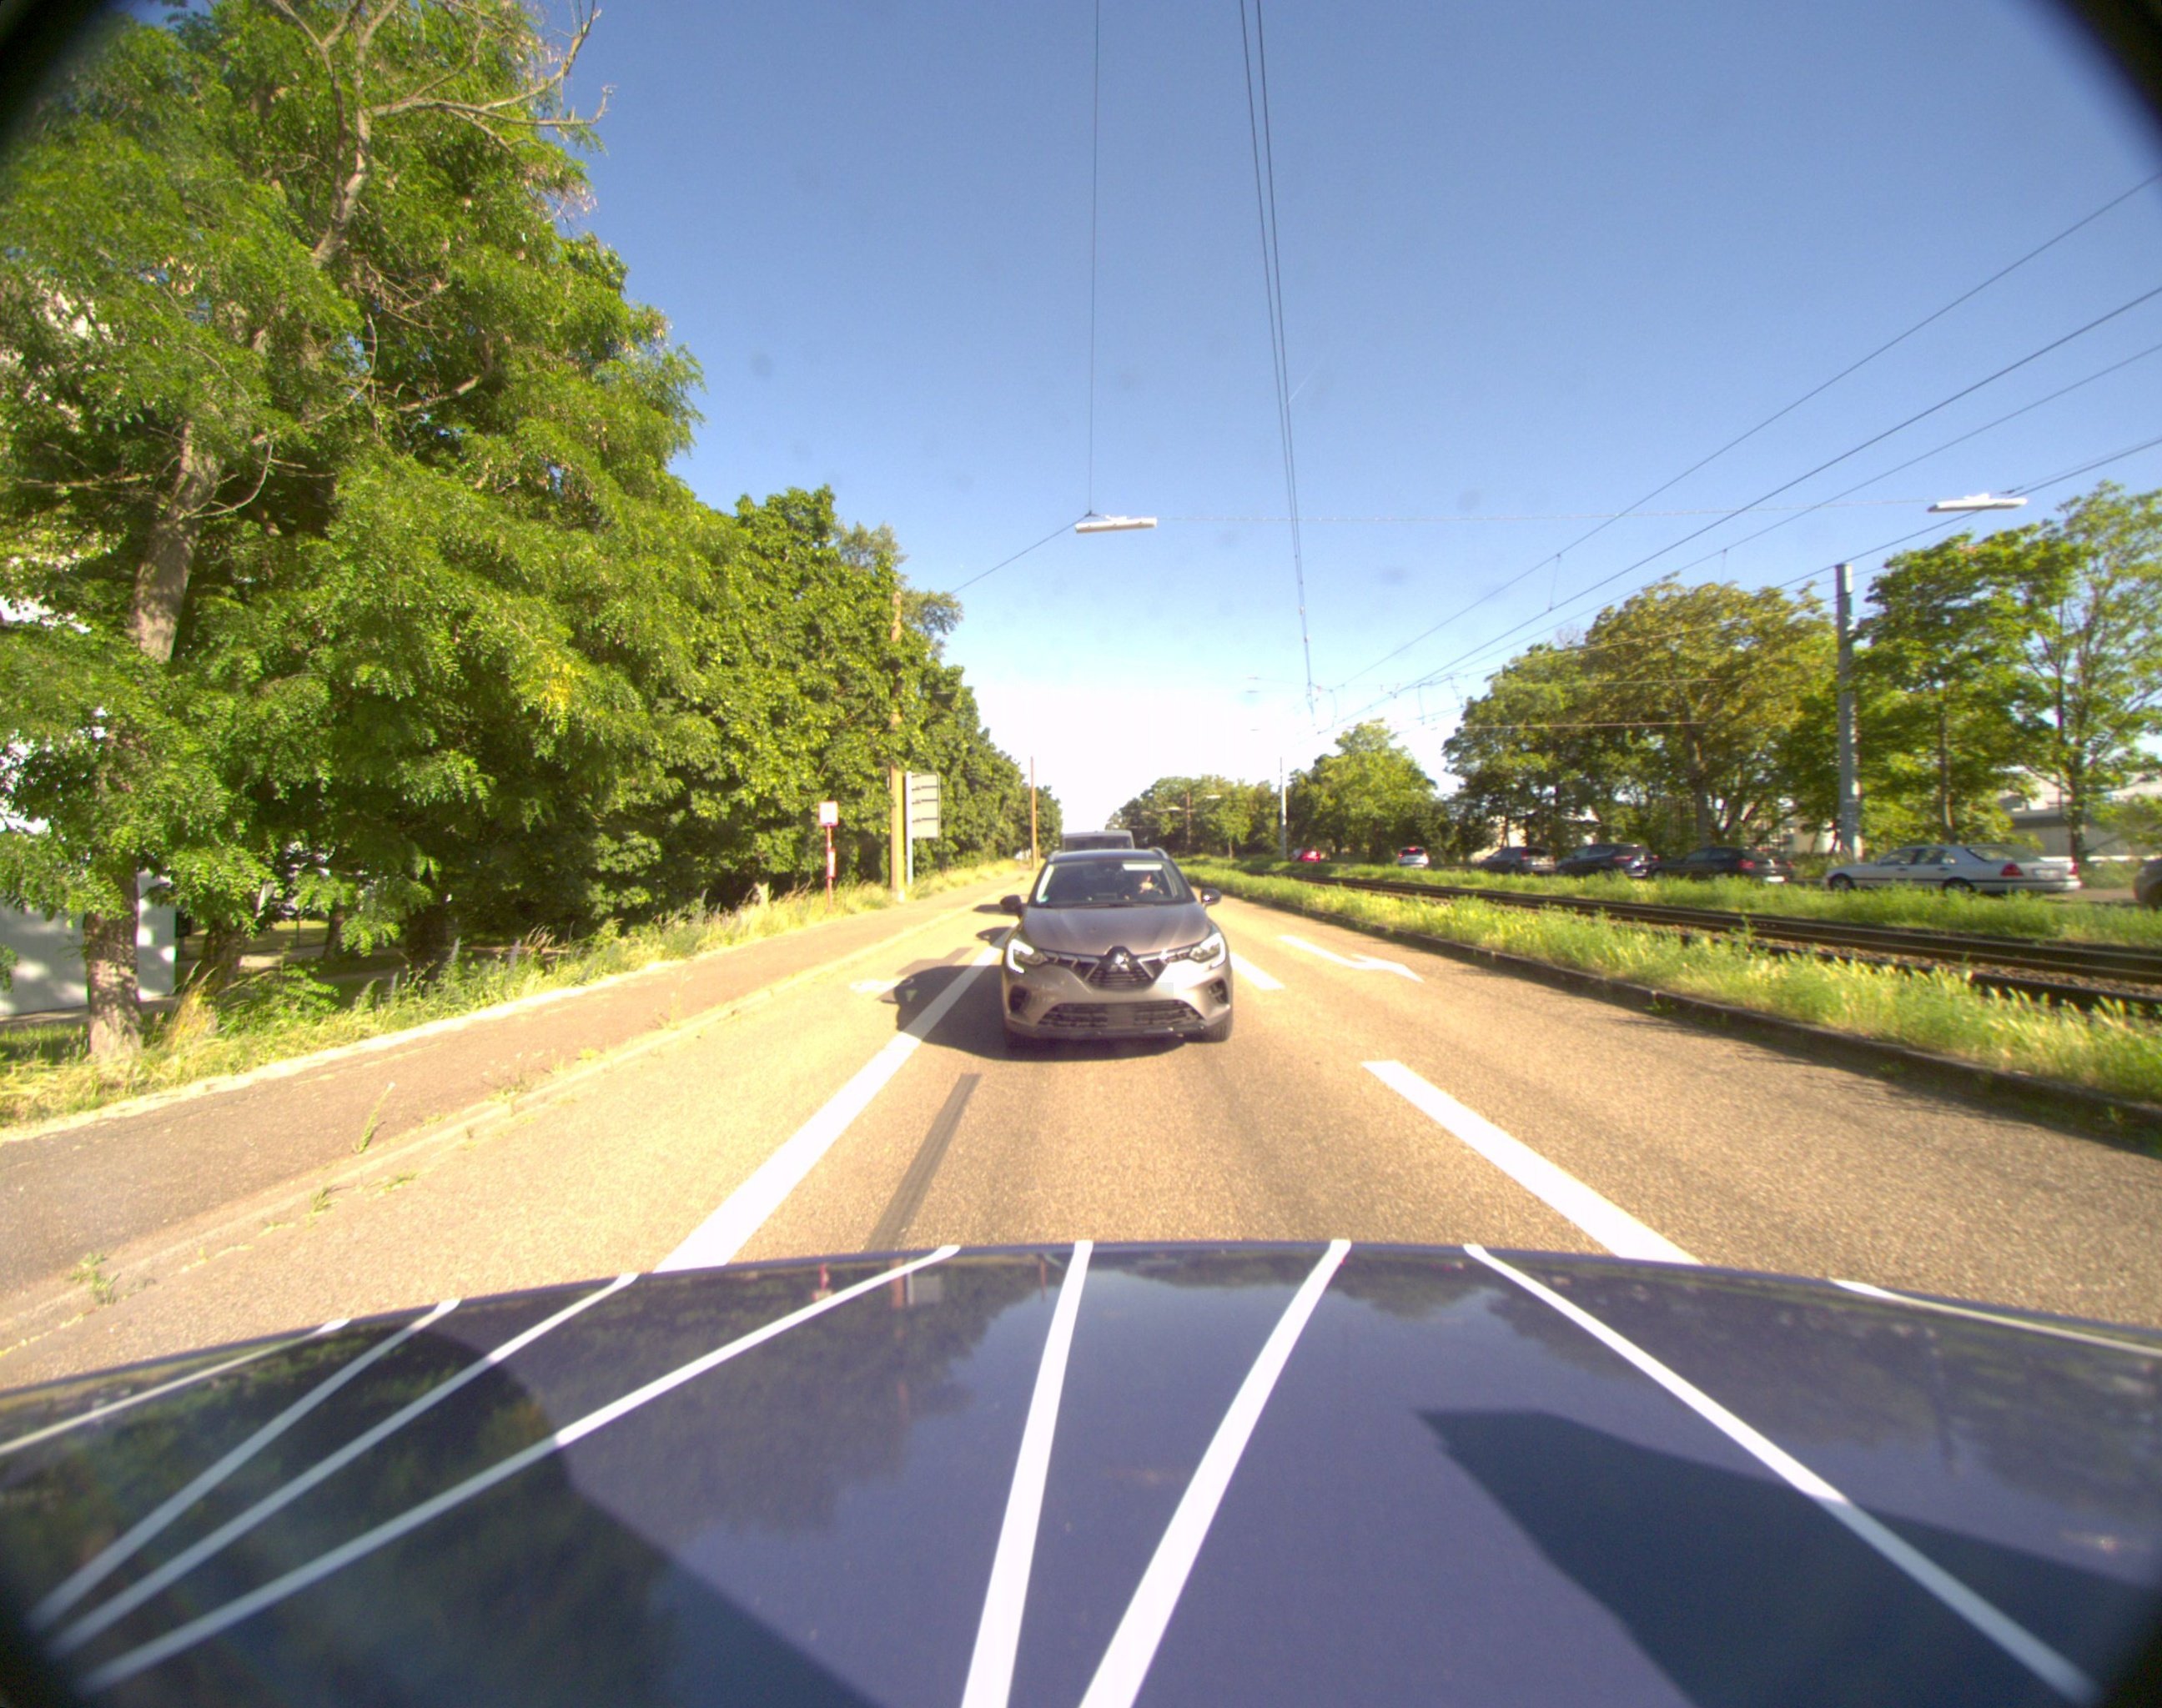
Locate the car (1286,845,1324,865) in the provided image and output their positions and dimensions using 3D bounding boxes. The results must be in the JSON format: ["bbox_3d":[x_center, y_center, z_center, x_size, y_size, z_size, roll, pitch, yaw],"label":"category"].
[{"bbox_3d":[21.007,0.103,71.512,2.321,1.723,4.798,-2,0,3],"label":"car"}]

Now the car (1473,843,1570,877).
[{"bbox_3d":[21.568,0.286,37.454,2.130,1.554,4.560,-2,0,0],"label":"car"}]

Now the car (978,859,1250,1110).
[{"bbox_3d":[0.182,0.890,7.366,1.796,1.583,4.529,-1,1,-1],"label":"car"}]

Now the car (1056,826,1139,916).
[{"bbox_3d":[0.359,0.451,21.099,1.999,2.198,4.786,-1,-1,-1],"label":"car"}]

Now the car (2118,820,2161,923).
[{"bbox_3d":[21.231,0.292,12.426,2.207,1.923,4.685,-2,0,2],"label":"car"}]

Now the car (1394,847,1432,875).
[{"bbox_3d":[20.104,0.378,45.879,1.856,1.548,4.164,-2,0,27],"label":"car"}]

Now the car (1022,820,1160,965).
[{"bbox_3d":[0.176,0.582,13.402,1.998,2.113,4.000,-2,0,1],"label":"car"}]

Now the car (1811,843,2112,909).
[{"bbox_3d":[21.547,0.488,18.981,2.130,1.372,4.616,-2,0,-1],"label":"car"}]

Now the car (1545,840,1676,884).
[{"bbox_3d":[21.310,0.310,30.871,2.130,1.578,4.616,-2,0,1],"label":"car"}]

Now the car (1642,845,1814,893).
[{"bbox_3d":[21.348,0.464,25.375,1.960,1.417,4.488,-2,0,1],"label":"car"}]
